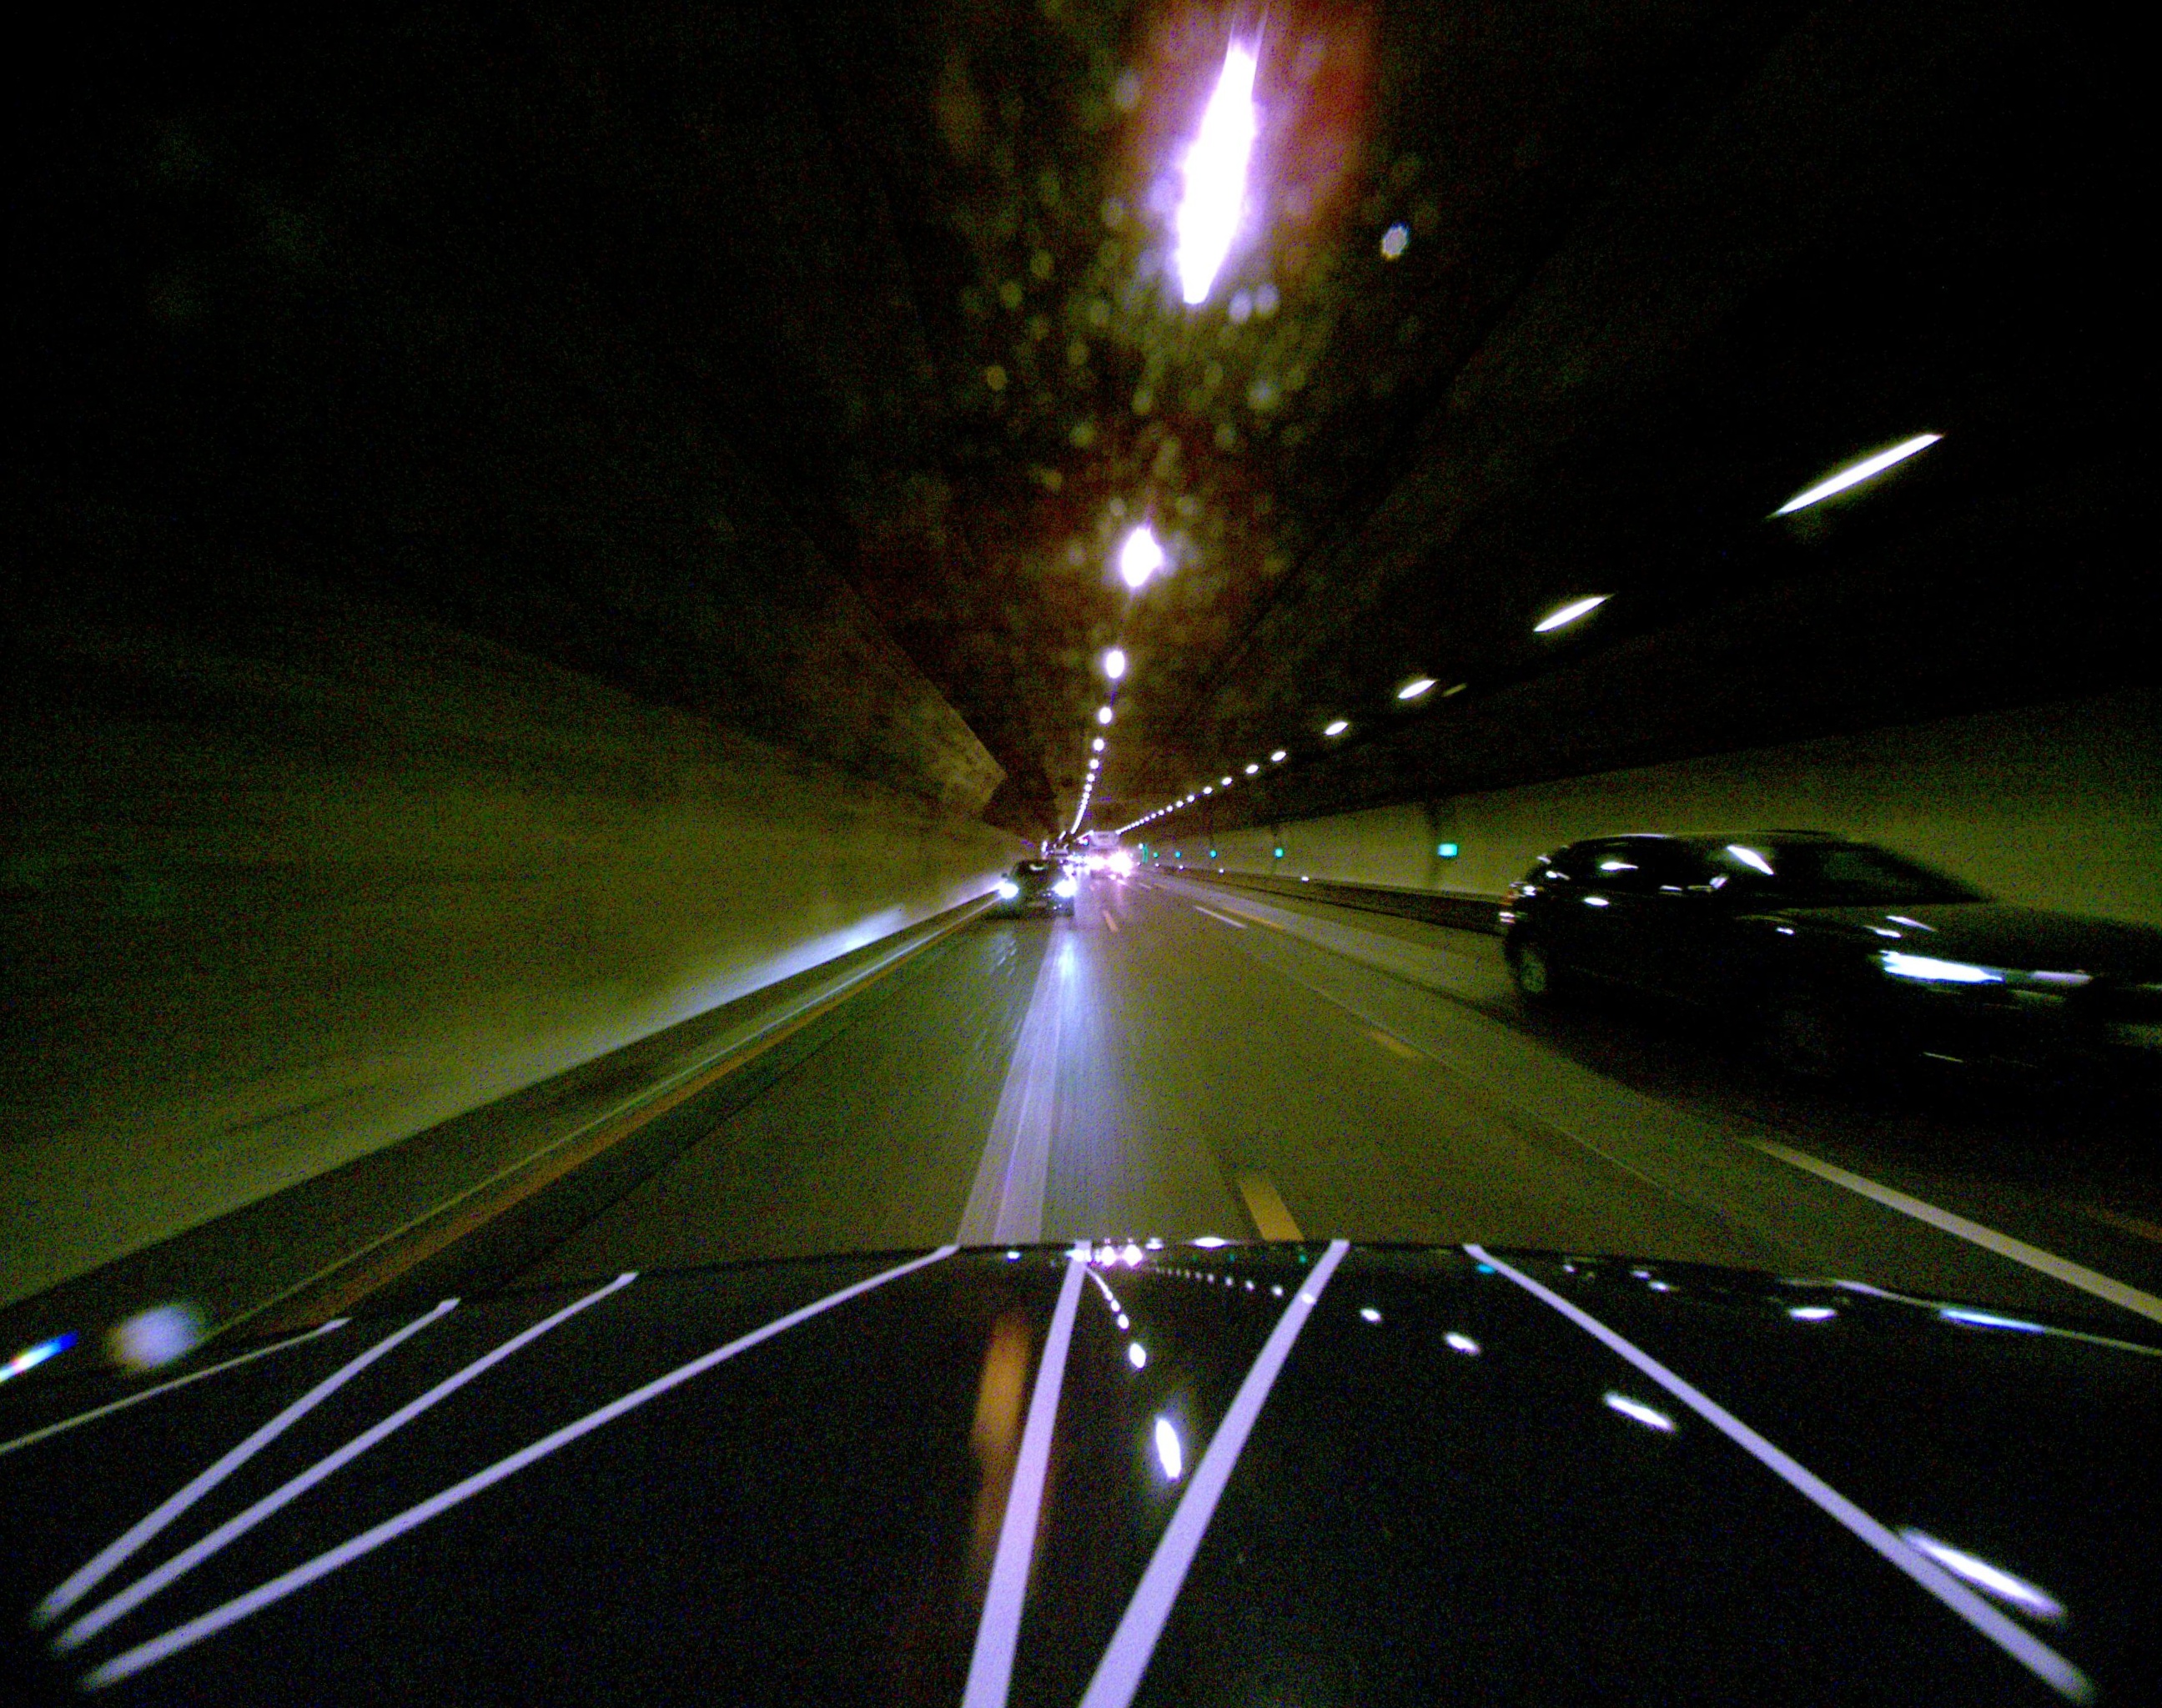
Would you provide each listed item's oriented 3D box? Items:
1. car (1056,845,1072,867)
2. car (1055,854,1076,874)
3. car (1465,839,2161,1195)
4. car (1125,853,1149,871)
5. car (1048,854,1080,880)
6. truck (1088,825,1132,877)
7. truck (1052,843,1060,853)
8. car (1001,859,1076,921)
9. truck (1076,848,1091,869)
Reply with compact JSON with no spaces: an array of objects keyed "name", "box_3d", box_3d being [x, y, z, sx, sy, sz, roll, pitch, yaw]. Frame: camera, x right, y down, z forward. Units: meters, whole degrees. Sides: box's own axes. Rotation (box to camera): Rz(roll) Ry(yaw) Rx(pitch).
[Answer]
[{"name":"car","box_3d":[-2.240,0.217,100.098,1.999,2.710,6.272,-1,1,-2]},{"name":"car","box_3d":[-1.607,0.983,77.394,1.999,2.002,4.852,-1,0,-3]},{"name":"car","box_3d":[5.073,0.688,5.680,1.998,1.531,4.742,-1,1,0]},{"name":"car","box_3d":[5.293,0.727,72.436,1.998,1.531,4.851,-1,1,1]},{"name":"car","box_3d":[-1.151,0.831,50.804,1.999,1.531,4.741,-1,1,-2]},{"name":"truck","box_3d":[1.916,-0.192,53.434,2.534,3.314,7.714,-1,0,-2]},{"name":"truck","box_3d":[-8.486,-2.092,261.753,2.208,3.449,11.765,0,0,1]},{"name":"car","box_3d":[-1.122,0.915,21.058,1.826,1.469,4.520,-1,0,-2]},{"name":"truck","box_3d":[0.347,0.681,115.183,2.162,3.098,6.030,-1,1,1]}]
